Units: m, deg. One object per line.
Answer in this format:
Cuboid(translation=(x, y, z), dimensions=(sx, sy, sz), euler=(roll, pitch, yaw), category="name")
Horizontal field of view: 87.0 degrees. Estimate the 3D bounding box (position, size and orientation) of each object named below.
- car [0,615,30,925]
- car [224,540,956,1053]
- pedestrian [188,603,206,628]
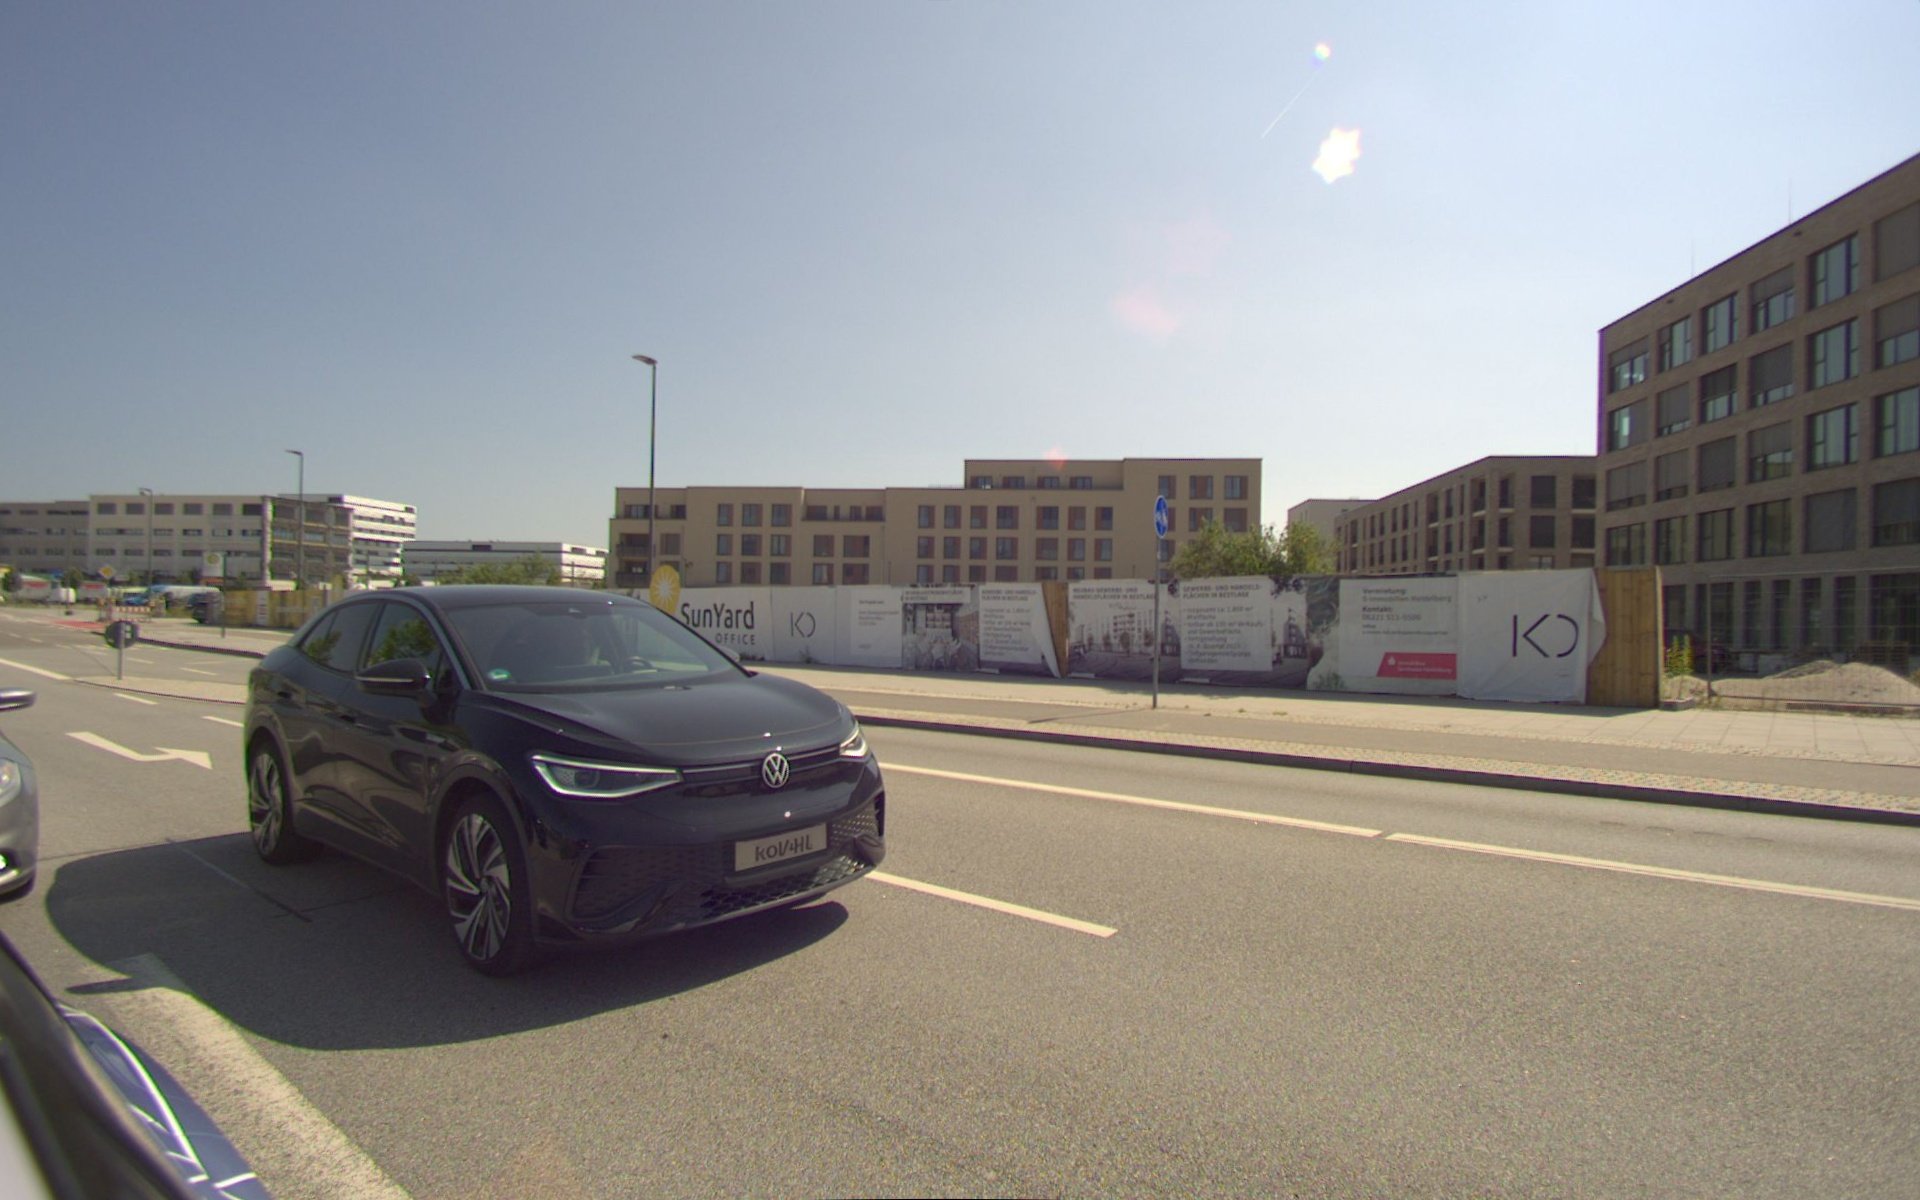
Cuboid(translation=(-6.369, 0.791, 5.312), dimensions=(4.134, 1.390, 1.762), euler=(-1, 0, 41), category="car")
Cuboid(translation=(-2.247, 0.647, 5.384), dimensions=(4.364, 1.654, 1.783), euler=(-1, 0, 41), category="car")
Cuboid(translation=(-49.081, 0.984, 65.094), dimensions=(0.610, 1.598, 0.703), euler=(-1, 0, 5), category="pedestrian")
